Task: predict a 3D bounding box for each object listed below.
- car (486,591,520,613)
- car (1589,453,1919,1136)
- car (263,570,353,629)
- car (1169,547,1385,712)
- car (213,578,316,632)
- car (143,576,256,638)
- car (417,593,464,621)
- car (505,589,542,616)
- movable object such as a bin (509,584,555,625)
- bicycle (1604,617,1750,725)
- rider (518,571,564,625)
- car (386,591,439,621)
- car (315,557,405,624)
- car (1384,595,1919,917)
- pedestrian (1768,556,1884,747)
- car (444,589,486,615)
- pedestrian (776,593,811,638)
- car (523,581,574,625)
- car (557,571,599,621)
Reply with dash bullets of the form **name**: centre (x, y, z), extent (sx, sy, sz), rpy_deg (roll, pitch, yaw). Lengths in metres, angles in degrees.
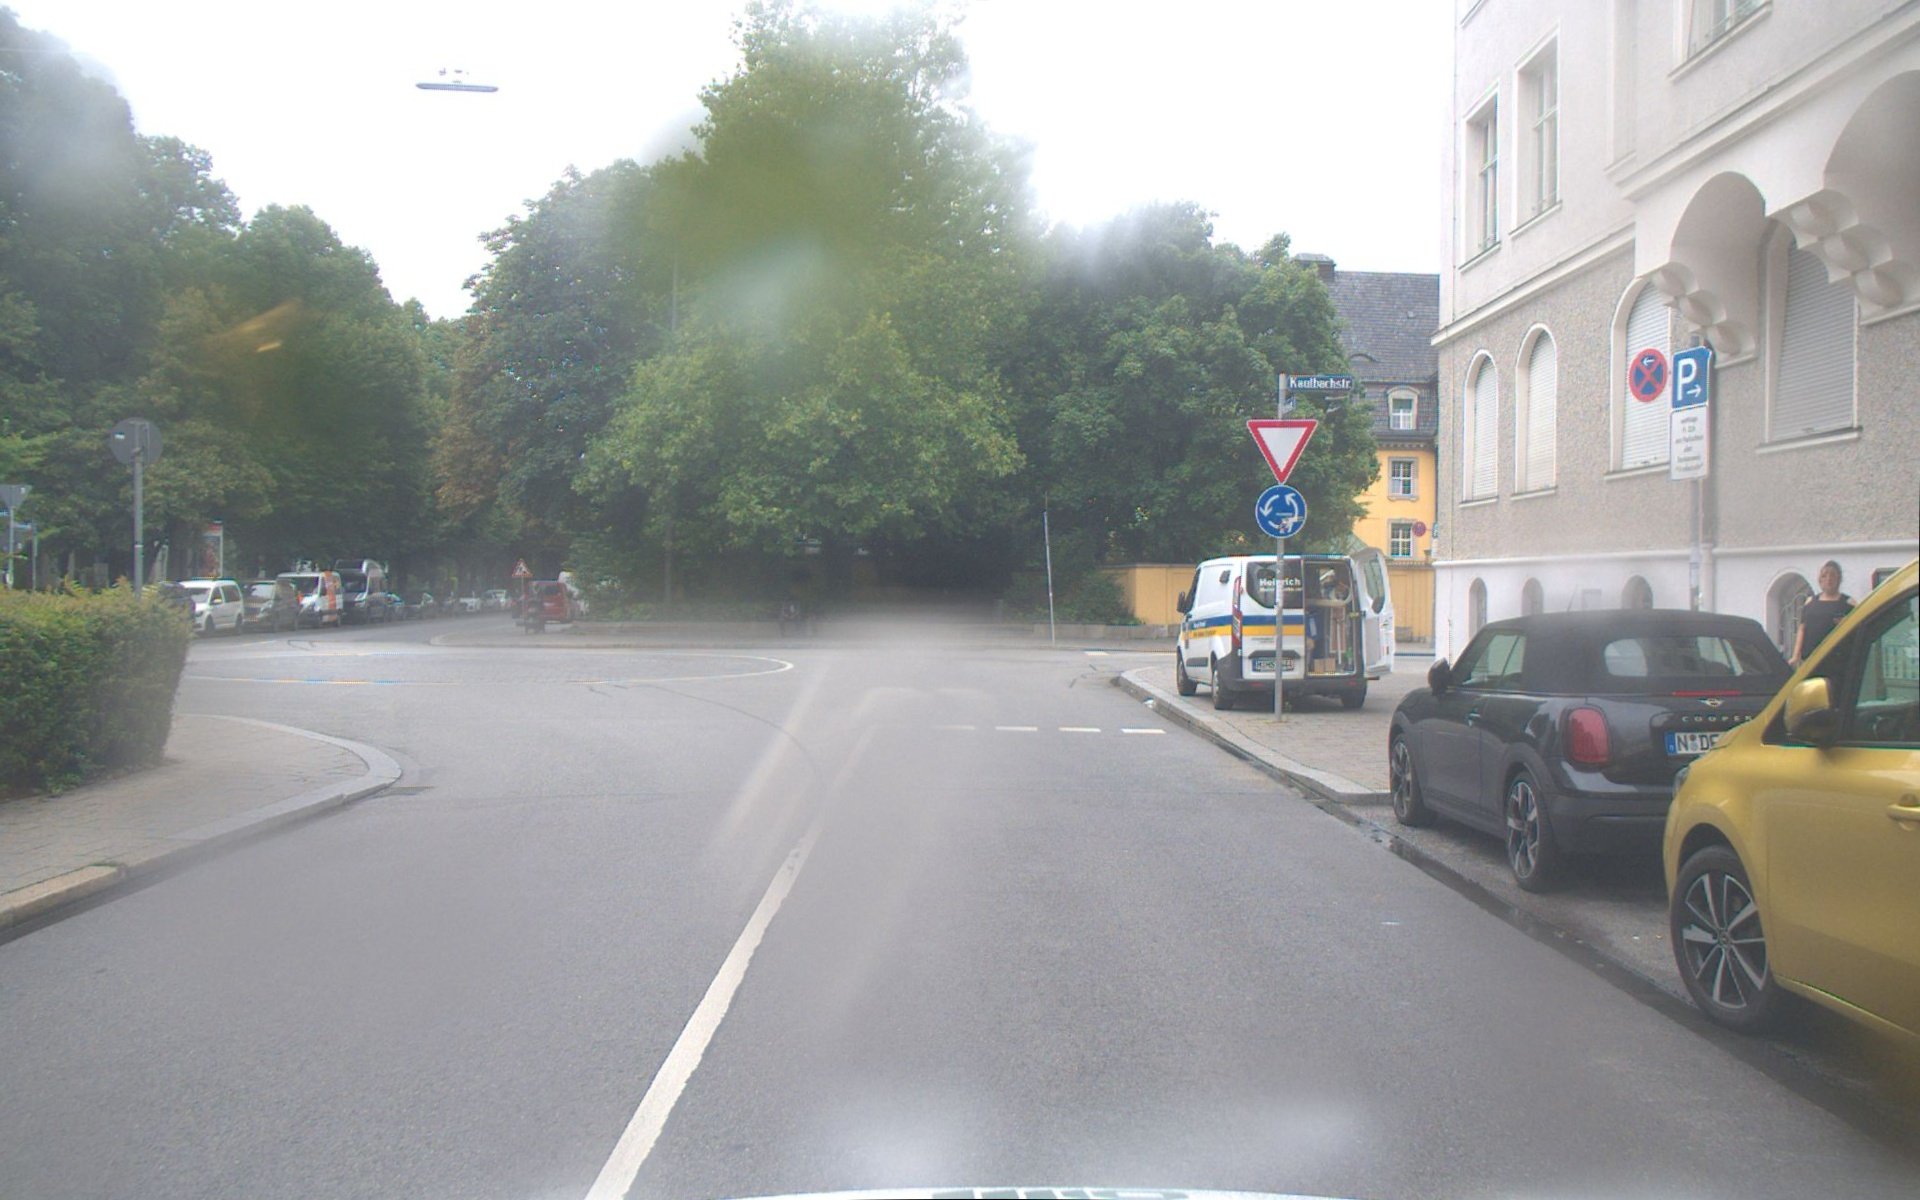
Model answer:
- **car**: centre (-33.926, 0.114, 122.867), extent (1.859, 1.599, 4.068), rpy_deg (0, 0, -7)
- **car**: centre (3.566, 0.538, 4.760), extent (1.812, 1.885, 4.822), rpy_deg (0, 0, 2)
- **car**: centre (-26.489, -0.027, 67.381), extent (2.070, 2.290, 5.189), rpy_deg (0, 0, -6)
- **car**: centre (4.198, 0.341, 22.752), extent (1.877, 1.996, 4.925), rpy_deg (-1, 1, -2)
- **car**: centre (-25.260, 0.162, 60.274), extent (2.025, 1.891, 4.980), rpy_deg (0, 0, -6)
- **car**: centre (-24.604, 0.215, 53.674), extent (1.889, 1.928, 4.860), rpy_deg (0, 0, -7)
- **car**: centre (-30.097, 0.407, 95.972), extent (1.859, 1.599, 4.068), rpy_deg (0, 0, -7)
- **car**: centre (-24.513, 0.123, 93.012), extent (1.756, 1.518, 3.990), rpy_deg (0, 0, -11)
- **movable object such as a bin**: centre (-13.760, 0.139, 53.164), extent (1.055, 1.289, 1.087), rpy_deg (-2, 0, 7)
- **bicycle**: centre (8.295, 0.788, 19.244), extent (0.680, 1.113, 2.283), rpy_deg (-2, 0, 0)
- **rider**: centre (-13.669, -0.068, 53.966), extent (1.059, 1.696, 1.140), rpy_deg (-2, 0, 7)
- **car**: centre (-28.912, 0.310, 87.493), extent (1.859, 1.565, 4.068), rpy_deg (0, 0, -7)
- **car**: centre (-27.725, -0.436, 76.673), extent (2.290, 2.973, 6.571), rpy_deg (0, 0, -6)
- **car**: centre (3.804, 0.731, 9.727), extent (1.630, 1.483, 3.896), rpy_deg (0, 0, 0)
- **pedestrian**: centre (8.253, 0.489, 15.765), extent (0.723, 1.768, 0.688), rpy_deg (-5, -3, 45)
- **car**: centre (-32.038, 0.131, 107.157), extent (1.859, 1.599, 4.068), rpy_deg (0, 0, -7)
- **pedestrian**: centre (-4.600, 0.421, 45.691), extent (0.794, 1.209, 0.920), rpy_deg (0, 0, 5)
- **car**: centre (-18.603, 0.126, 74.959), extent (2.005, 1.956, 4.434), rpy_deg (0, 0, -11)
- **car**: centre (-20.892, -0.225, 90.538), extent (2.004, 2.603, 5.235), rpy_deg (0, 0, -10)
